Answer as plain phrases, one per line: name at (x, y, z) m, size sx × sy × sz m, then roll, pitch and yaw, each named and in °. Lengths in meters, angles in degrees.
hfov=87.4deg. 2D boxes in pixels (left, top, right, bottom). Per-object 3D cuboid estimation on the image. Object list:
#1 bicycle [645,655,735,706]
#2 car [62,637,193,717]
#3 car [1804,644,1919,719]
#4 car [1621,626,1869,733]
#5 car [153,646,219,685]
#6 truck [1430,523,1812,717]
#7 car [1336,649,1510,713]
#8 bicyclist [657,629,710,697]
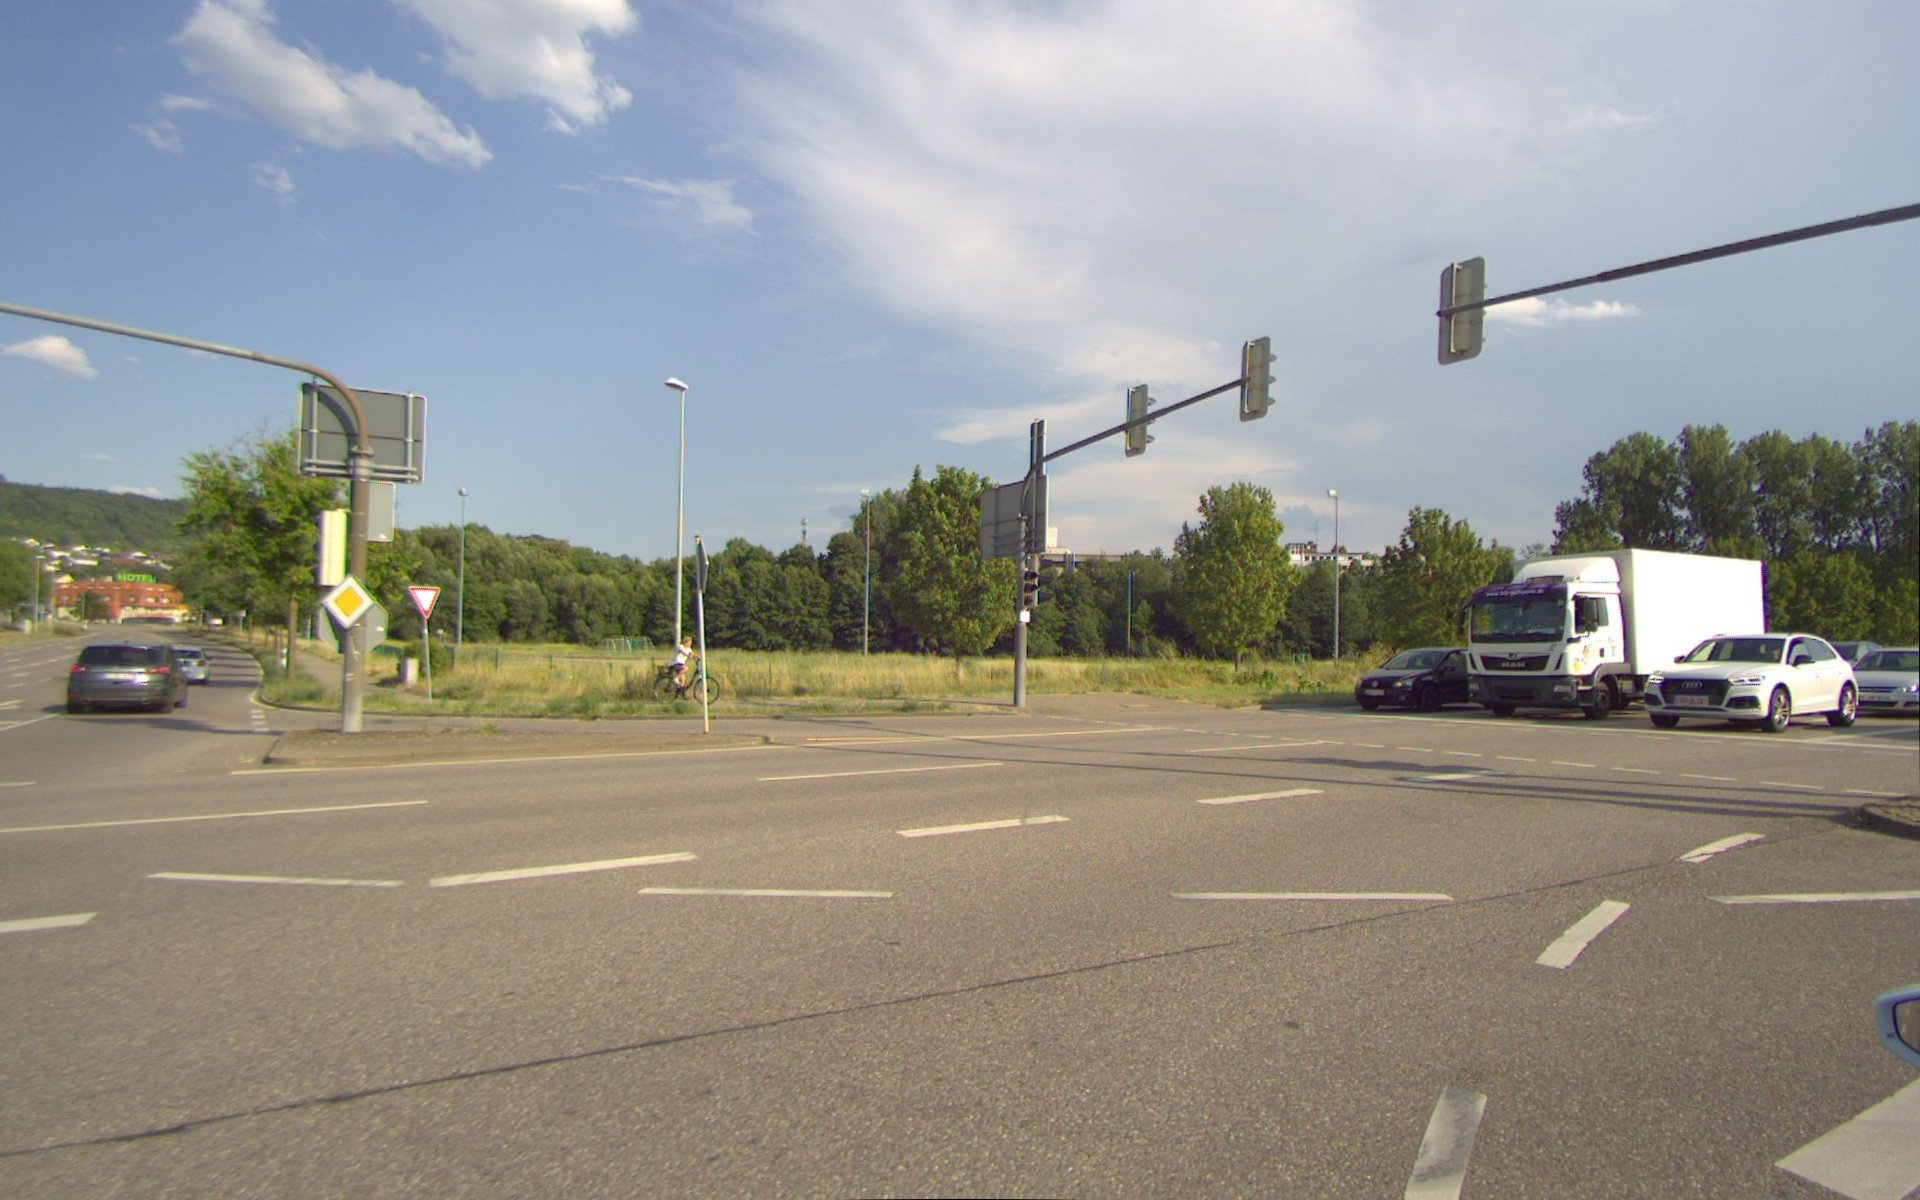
bicycle at (-6.353, 1.883, 23.640) m, size 1.897 × 1.053 × 0.709 m, roll 2°, pitch 0°, yaw 14°
car at (-19.608, 1.787, 23.836) m, size 1.907 × 1.712 × 4.118 m, roll 4°, pitch -4°, yaw -34°
car at (20.062, 1.706, 21.384) m, size 5.024 × 1.423 × 1.694 m, roll 3°, pitch -3°, yaw -31°
car at (14.203, 1.400, 18.113) m, size 4.753 × 1.700 × 1.984 m, roll 3°, pitch -3°, yaw -31°
car at (-30.090, 2.531, 39.130) m, size 1.750 × 1.386 × 3.714 m, roll 3°, pitch -3°, yaw -34°
truck at (15.485, 0.682, 23.188) m, size 10.374 × 3.738 × 2.920 m, roll 3°, pitch -4°, yaw -30°
car at (10.996, 1.899, 23.818) m, size 3.952 × 1.394 × 1.806 m, roll 3°, pitch -4°, yaw -30°
bicyclist at (-6.499, 1.461, 23.637) m, size 0.902 × 1.521 × 0.725 m, roll 2°, pitch 0°, yaw 14°
